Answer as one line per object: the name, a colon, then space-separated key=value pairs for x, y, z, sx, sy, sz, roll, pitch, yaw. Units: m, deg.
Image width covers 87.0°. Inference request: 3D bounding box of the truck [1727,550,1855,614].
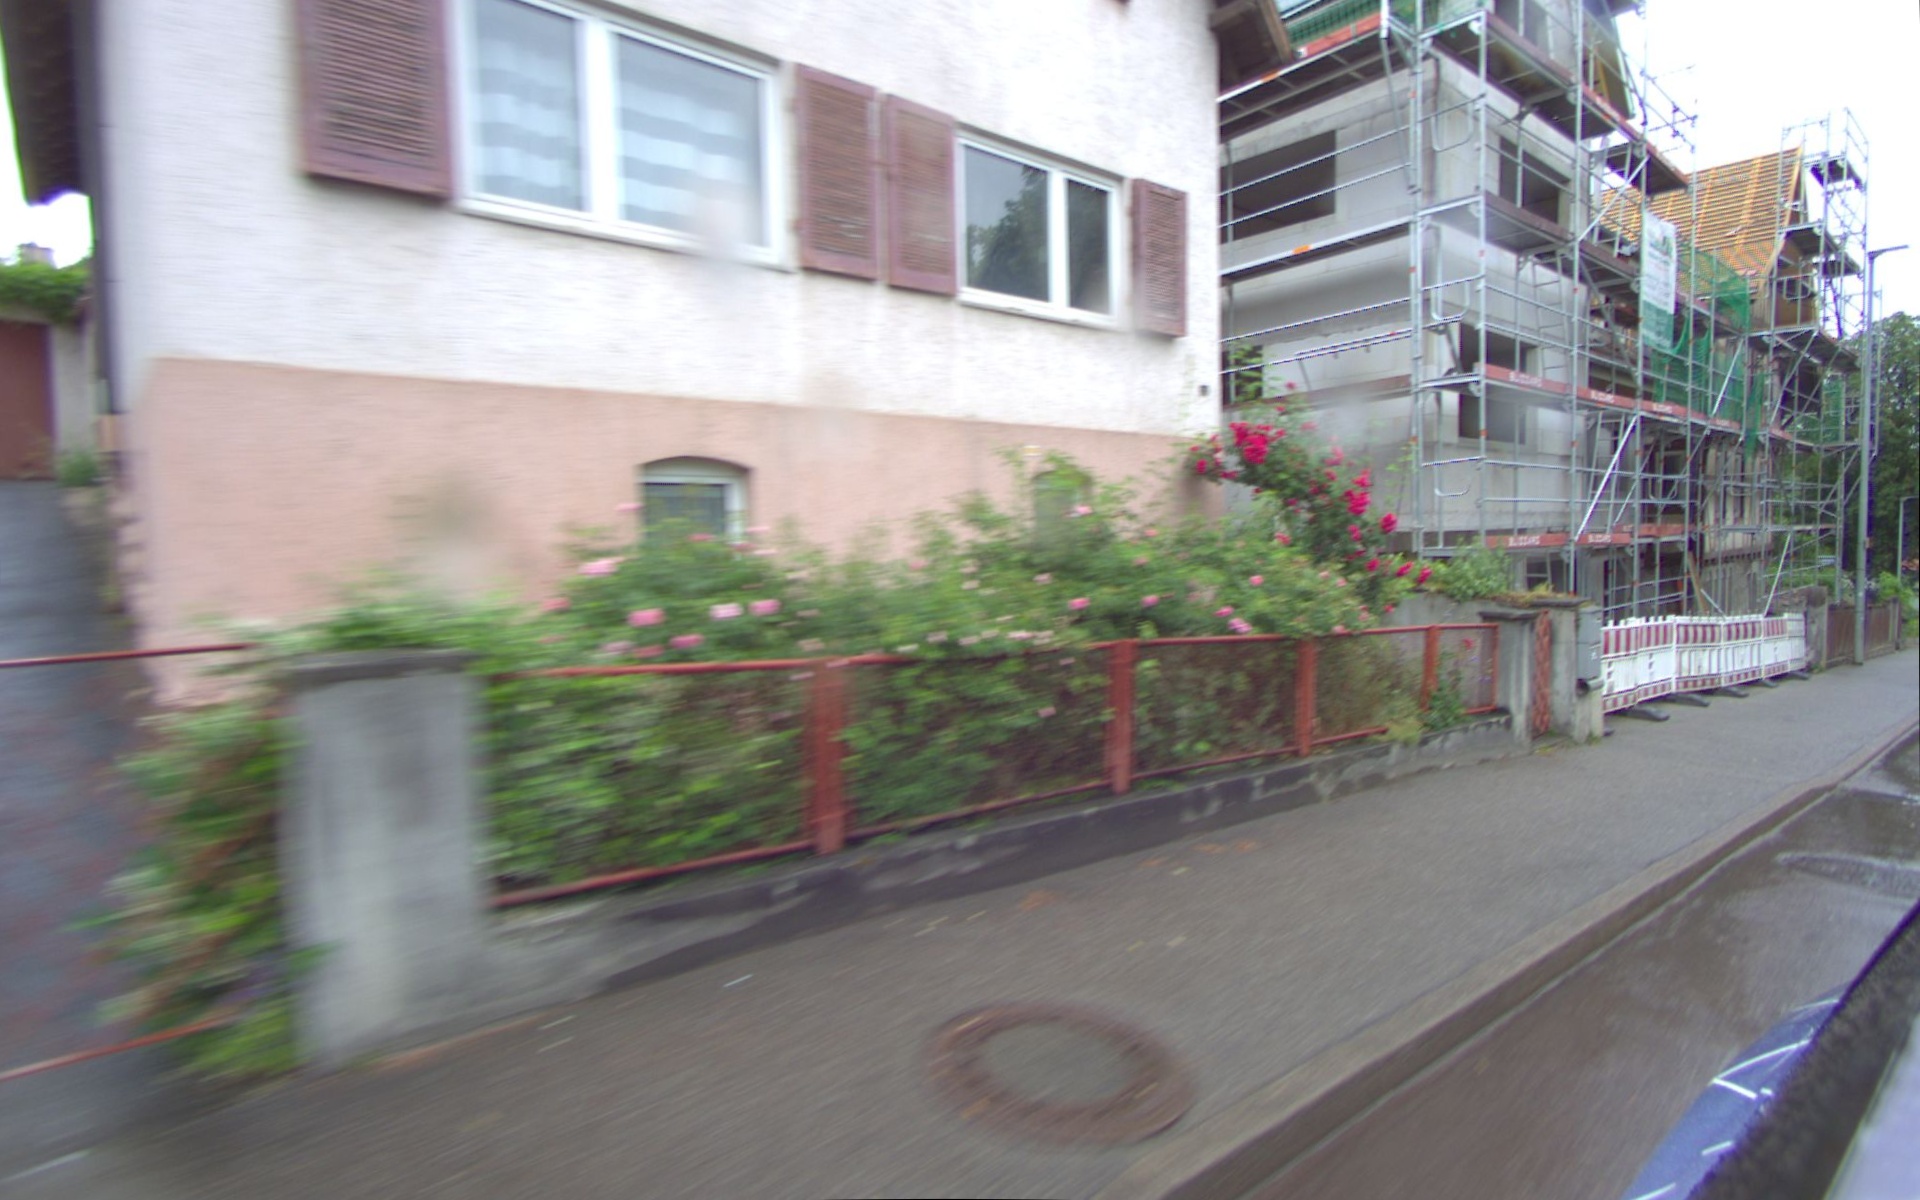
truck: x=55.807 y=-1.230 z=68.402 sx=2.818 sy=4.017 sz=10.376 roll=1 pitch=1 yaw=16
